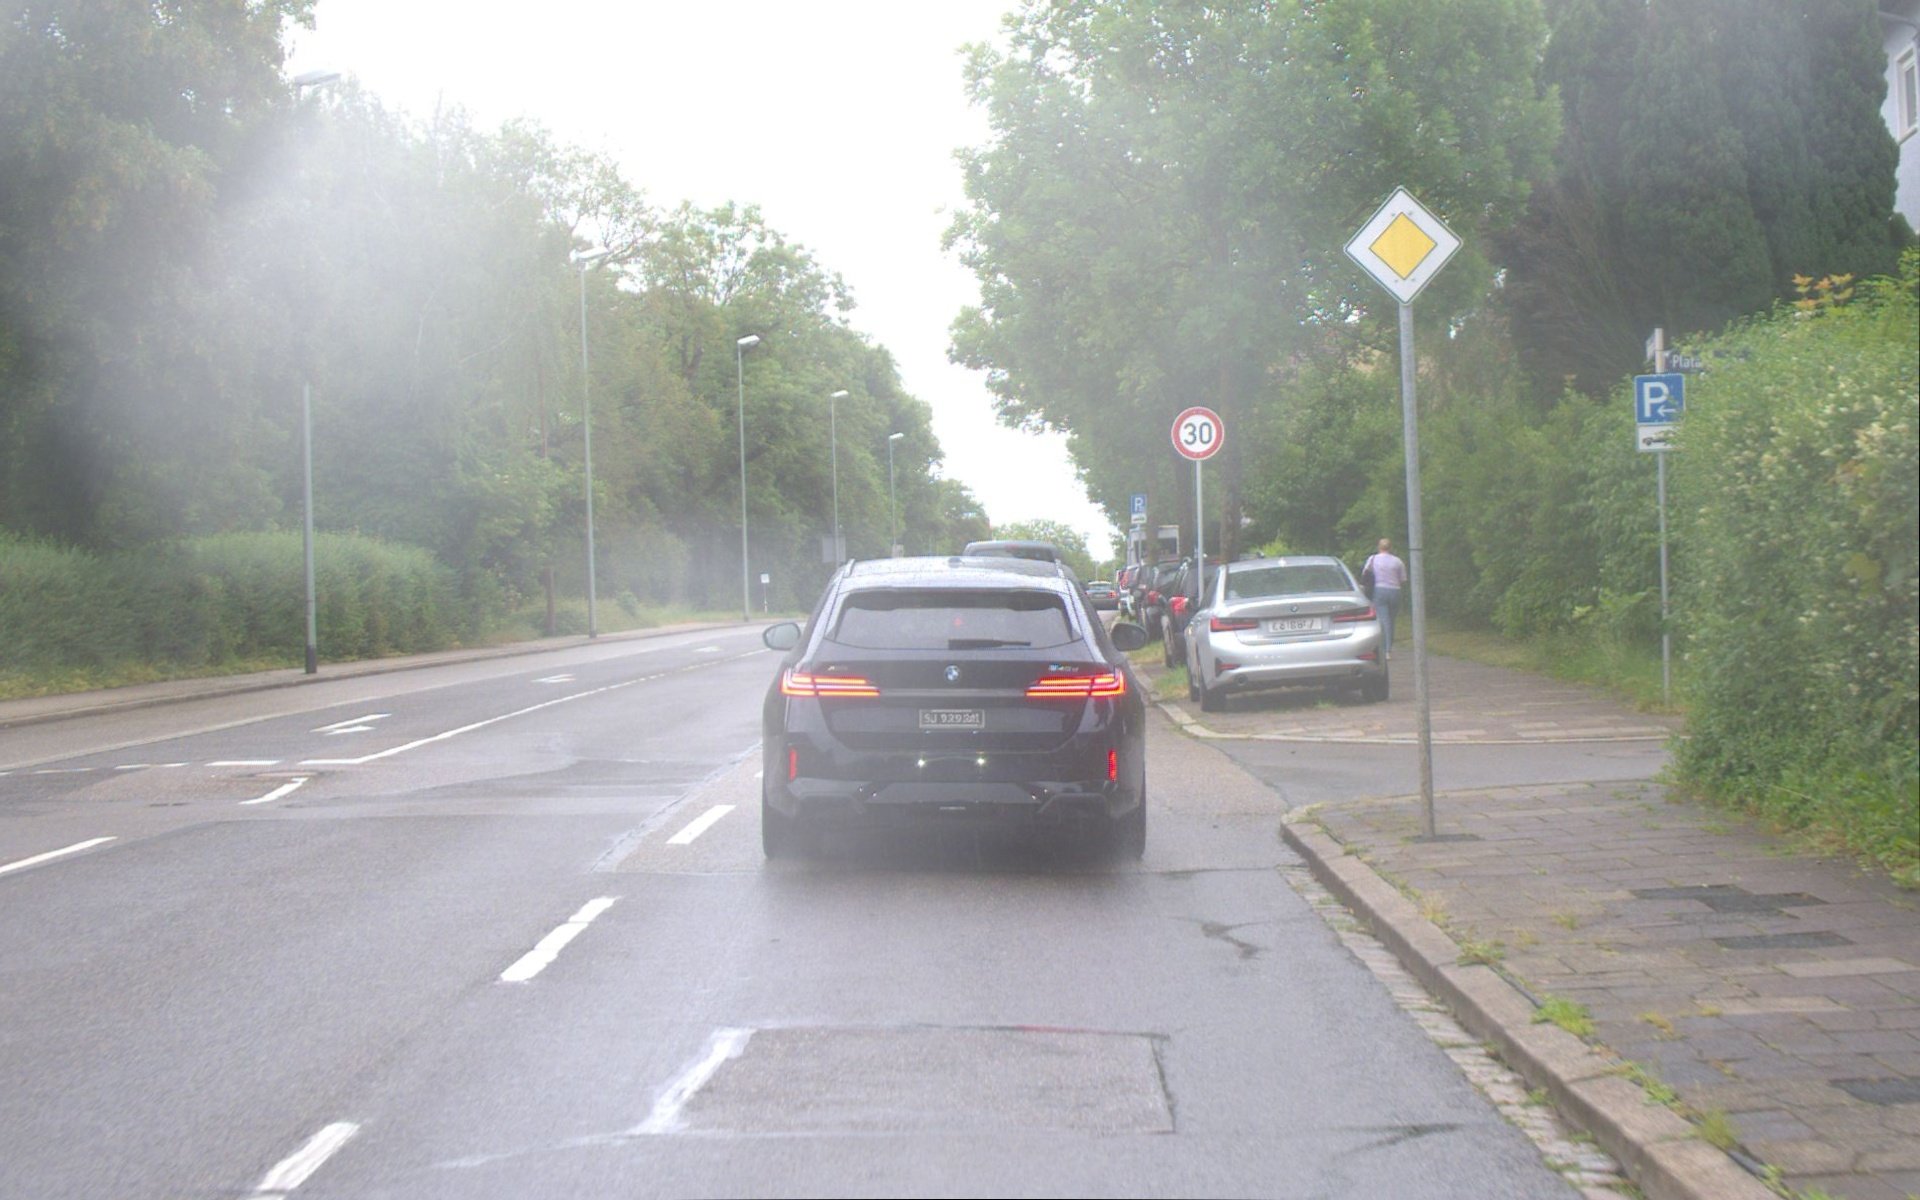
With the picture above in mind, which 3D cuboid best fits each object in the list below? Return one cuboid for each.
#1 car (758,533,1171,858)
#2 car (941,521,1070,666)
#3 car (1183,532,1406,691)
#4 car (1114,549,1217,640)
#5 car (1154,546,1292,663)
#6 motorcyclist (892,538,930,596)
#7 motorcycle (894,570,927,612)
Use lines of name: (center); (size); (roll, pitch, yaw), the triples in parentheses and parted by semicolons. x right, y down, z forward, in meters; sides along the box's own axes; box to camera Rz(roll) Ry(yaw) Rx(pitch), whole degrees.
car: (0.047, 0.405, 17.901); (1.897, 1.484, 4.000); (0, 1, 1)
car: (0.585, -0.132, 47.190); (1.629, 1.827, 4.000); (-2, 2, 0)
car: (3.282, 0.067, 34.428); (1.935, 1.437, 4.408); (-1, 1, 2)
car: (3.589, -0.121, 60.606); (1.589, 1.481, 3.562); (-2, 1, 1)
car: (3.543, 0.028, 46.702); (1.589, 1.456, 3.562); (-2, 1, 1)
motorcyclist: (-1.330, -0.908, 93.710); (1.039, 1.562, 0.855); (0, 1, 0)
motorcycle: (-1.336, -0.258, 93.657); (0.876, 1.120, 2.741); (0, 1, 0)
